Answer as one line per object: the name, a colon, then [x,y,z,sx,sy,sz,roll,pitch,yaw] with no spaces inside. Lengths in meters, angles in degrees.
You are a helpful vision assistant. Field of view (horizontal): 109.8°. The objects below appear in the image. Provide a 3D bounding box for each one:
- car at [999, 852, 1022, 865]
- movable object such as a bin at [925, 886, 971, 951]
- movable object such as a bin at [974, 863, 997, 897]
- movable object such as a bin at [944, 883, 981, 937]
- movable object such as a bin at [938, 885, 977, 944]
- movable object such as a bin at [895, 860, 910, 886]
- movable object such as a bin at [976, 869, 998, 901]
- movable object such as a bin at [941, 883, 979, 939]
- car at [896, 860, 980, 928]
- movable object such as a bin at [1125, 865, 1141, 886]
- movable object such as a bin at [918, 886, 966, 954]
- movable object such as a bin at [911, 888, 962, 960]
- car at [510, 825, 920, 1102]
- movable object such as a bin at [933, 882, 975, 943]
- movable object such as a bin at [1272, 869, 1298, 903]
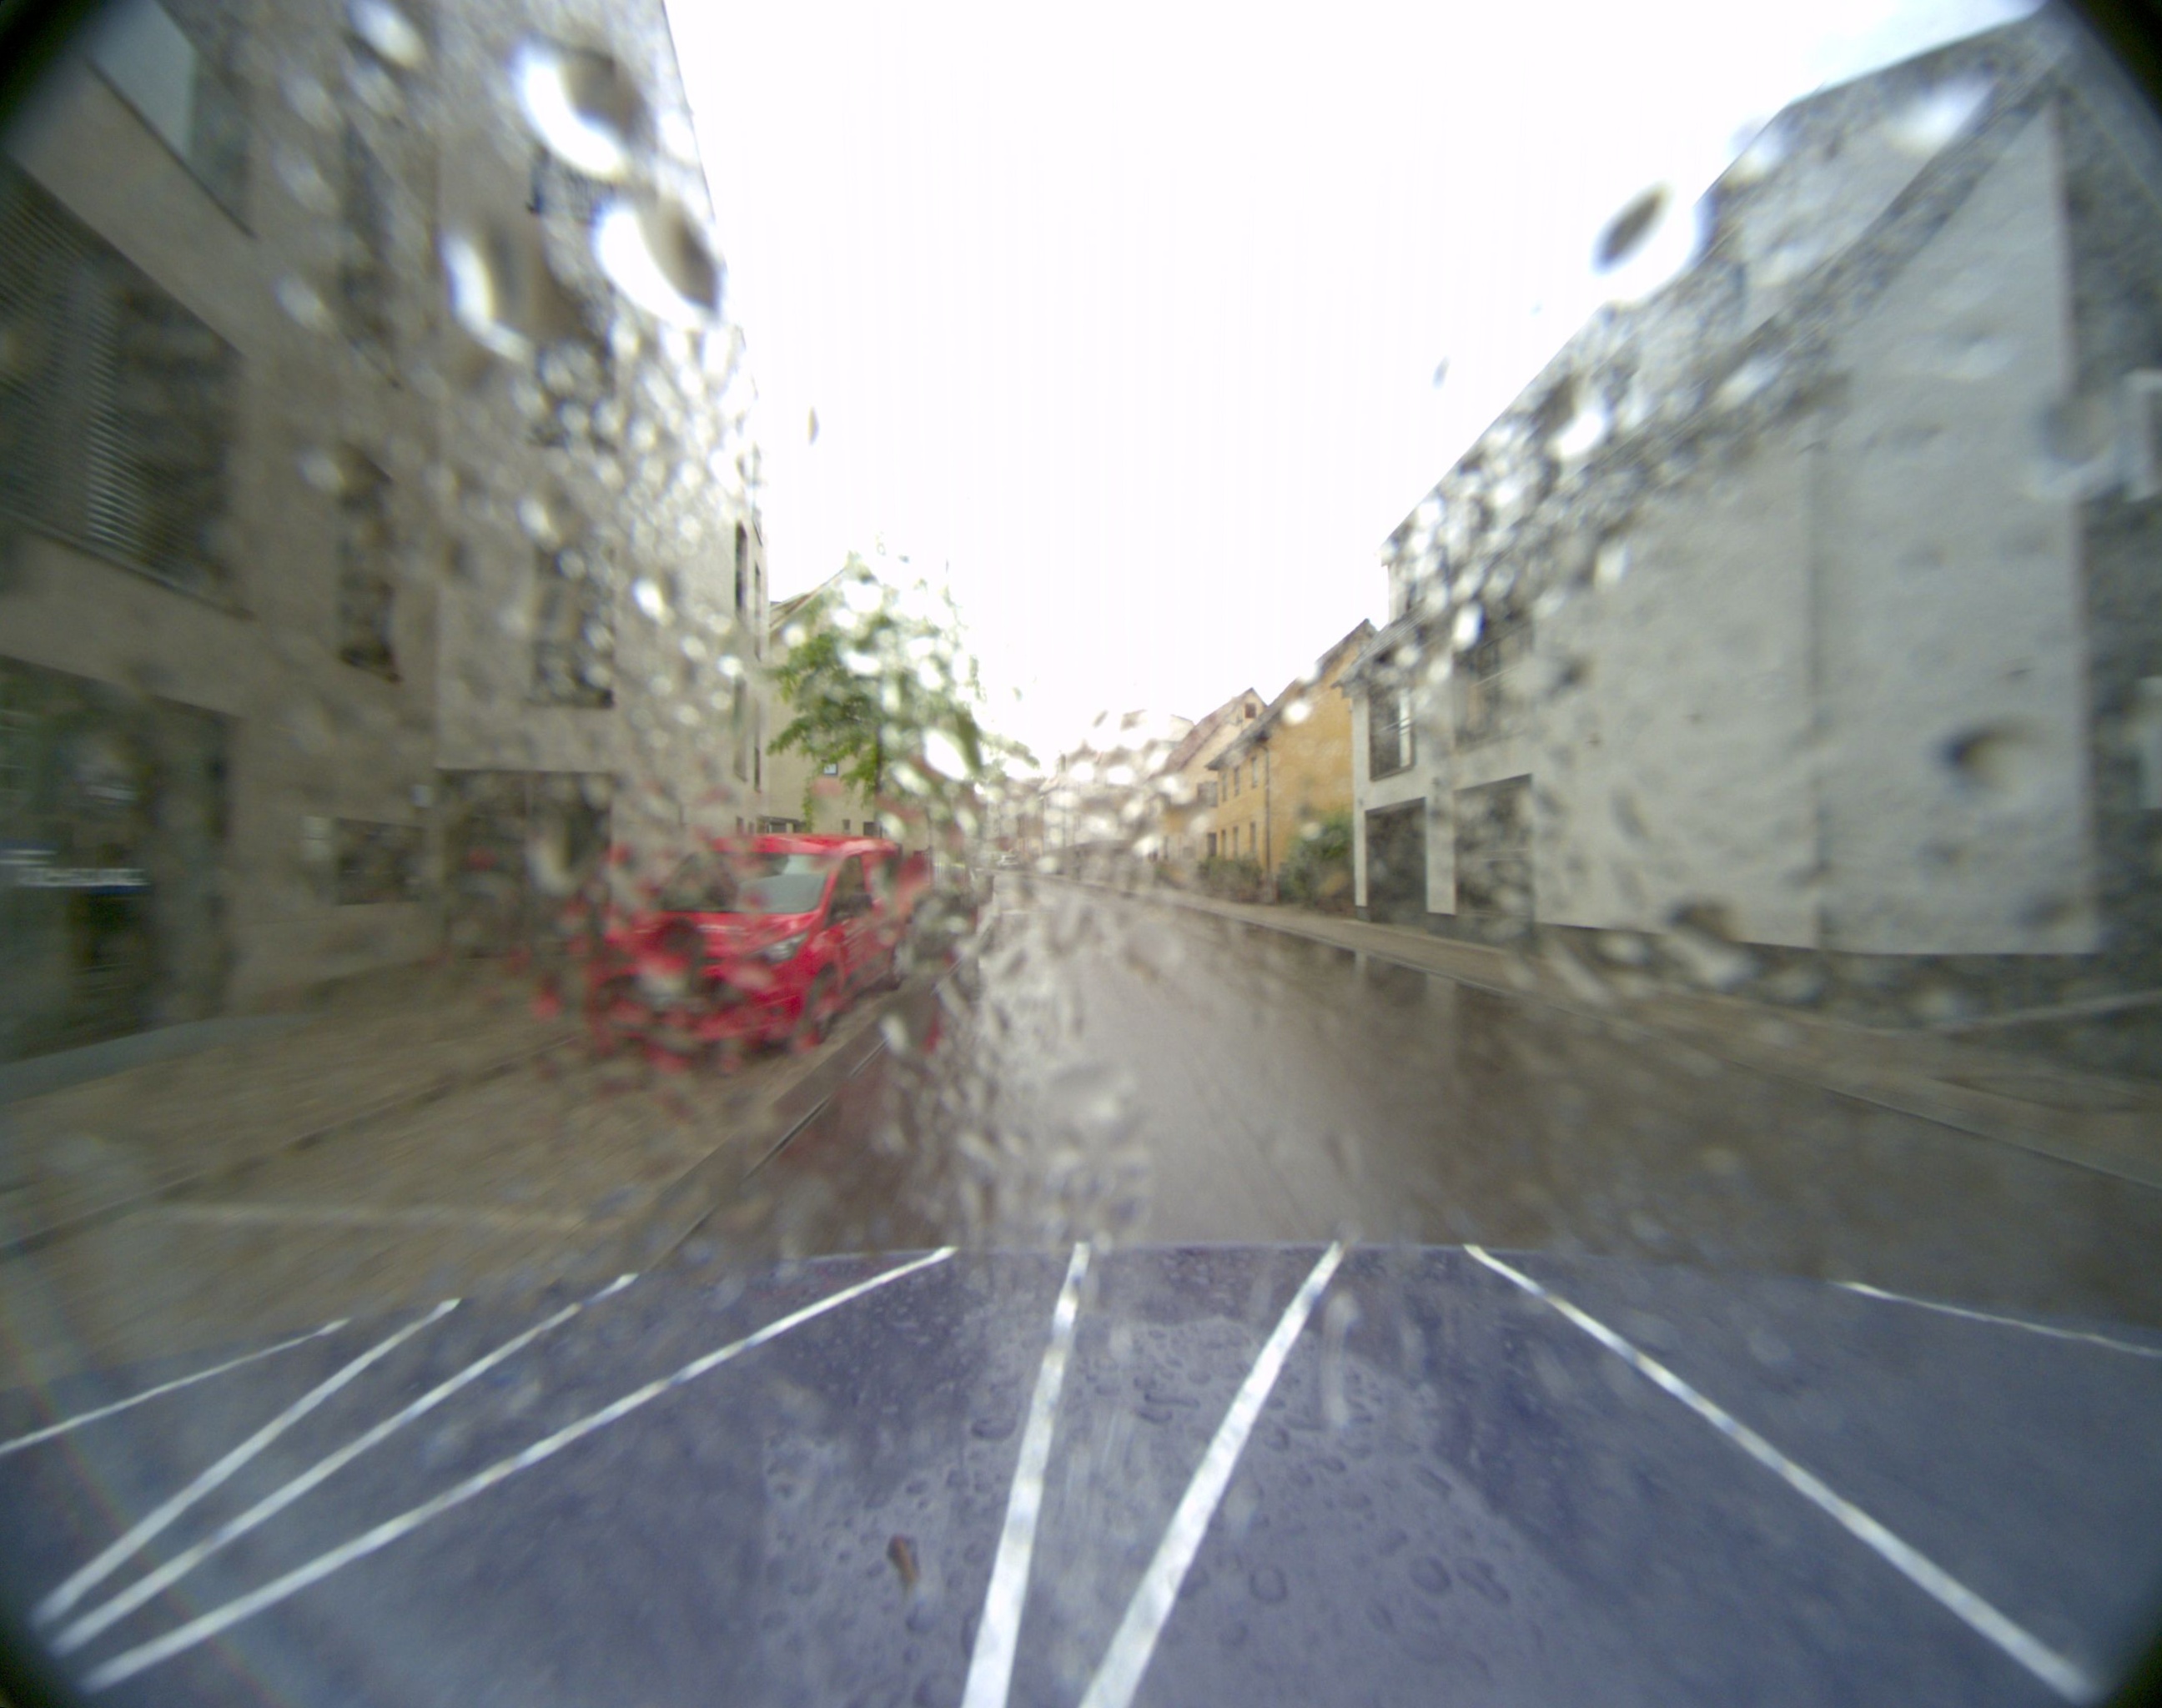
car: [-8.104,0.489,86.862,2.001,1.437,3.994,-2,1,-15]
movable object such as a bin: [-2.319,1.115,13.259,0.711,1.081,0.601,0,0,-2]
movable object such as a bin: [-3.720,1.018,29.742,0.797,1.241,1.242,2,1,-6]
movable object such as a bin: [-2.468,1.164,15.852,0.711,1.081,0.601,0,0,-4]
movable object such as a bin: [-2.382,1.159,14.670,0.704,1.081,0.515,0,0,-4]
movable object such as a bin: [-7.922,0.838,33.636,0.511,1.102,0.719,2,1,-22]
movable object such as a bin: [-3.497,1.152,28.421,0.763,1.102,0.809,2,1,-6]
movable object such as a bin: [-2.420,1.137,15.239,0.711,1.081,0.601,0,0,-4]
car: [-3.598,0.953,19.702,1.642,1.516,3.633,0,1,-3]
movable object such as a bin: [2.685,1.117,39.170,0.715,1.053,0.575,-1,1,-6]
movable object such as a bin: [-2.301,1.090,12.657,0.711,1.081,0.601,0,0,-2]
movable object such as a bin: [-2.284,1.095,12.043,0.711,1.081,0.601,0,0,-2]
car: [-3.026,0.729,7.557,1.840,1.896,4.603,1,1,0]
movable object such as a bin: [-2.344,1.076,14.100,0.711,1.081,0.601,0,0,-4]
movable object such as a bin: [6.958,1.071,25.932,0.659,1.102,0.721,2,1,1]
